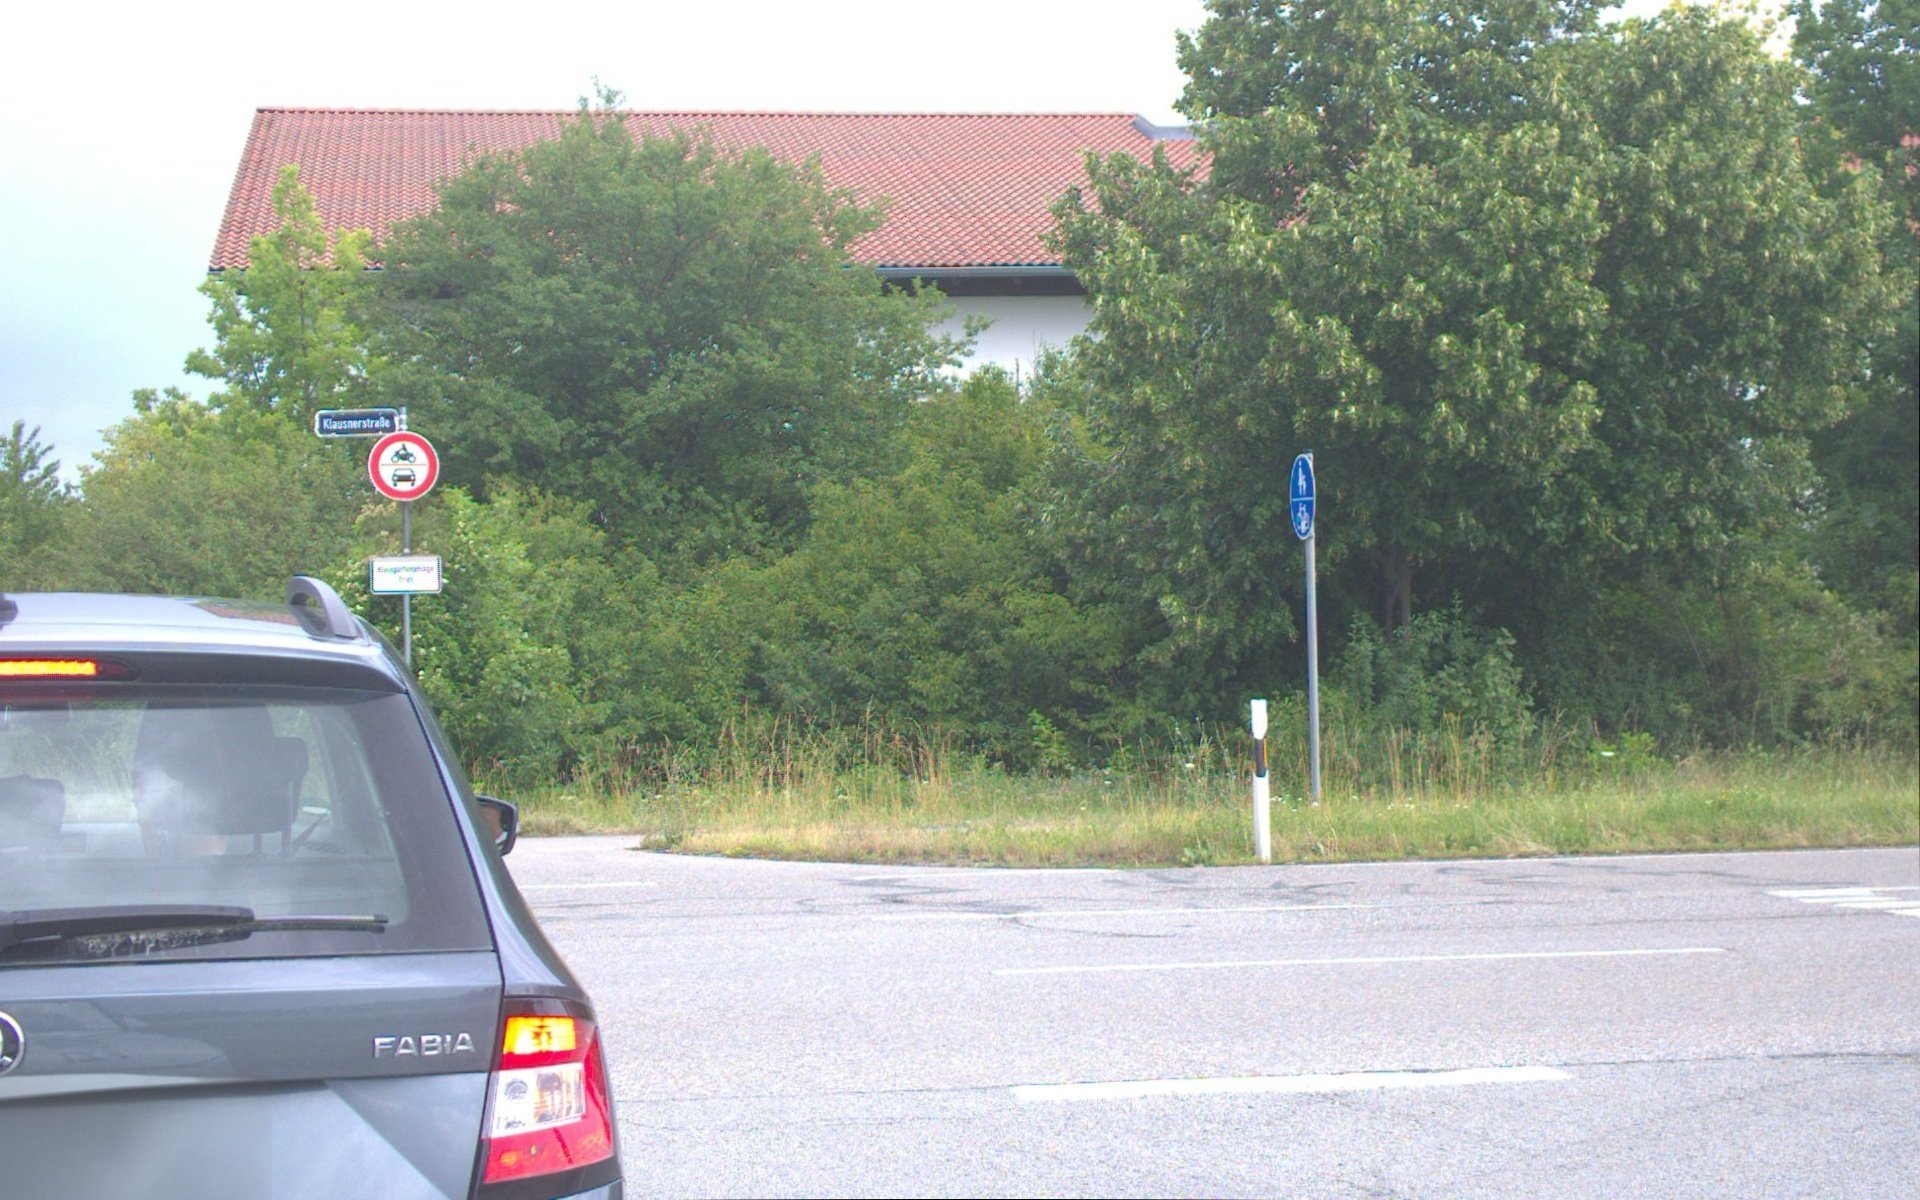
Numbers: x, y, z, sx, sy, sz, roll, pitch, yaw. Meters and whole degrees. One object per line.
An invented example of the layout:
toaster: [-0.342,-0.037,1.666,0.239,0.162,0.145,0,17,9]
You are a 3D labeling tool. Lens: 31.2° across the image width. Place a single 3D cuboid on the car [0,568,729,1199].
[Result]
car: [-1.624,0.678,5.645,1.712,1.442,4.118,0,0,-15]
